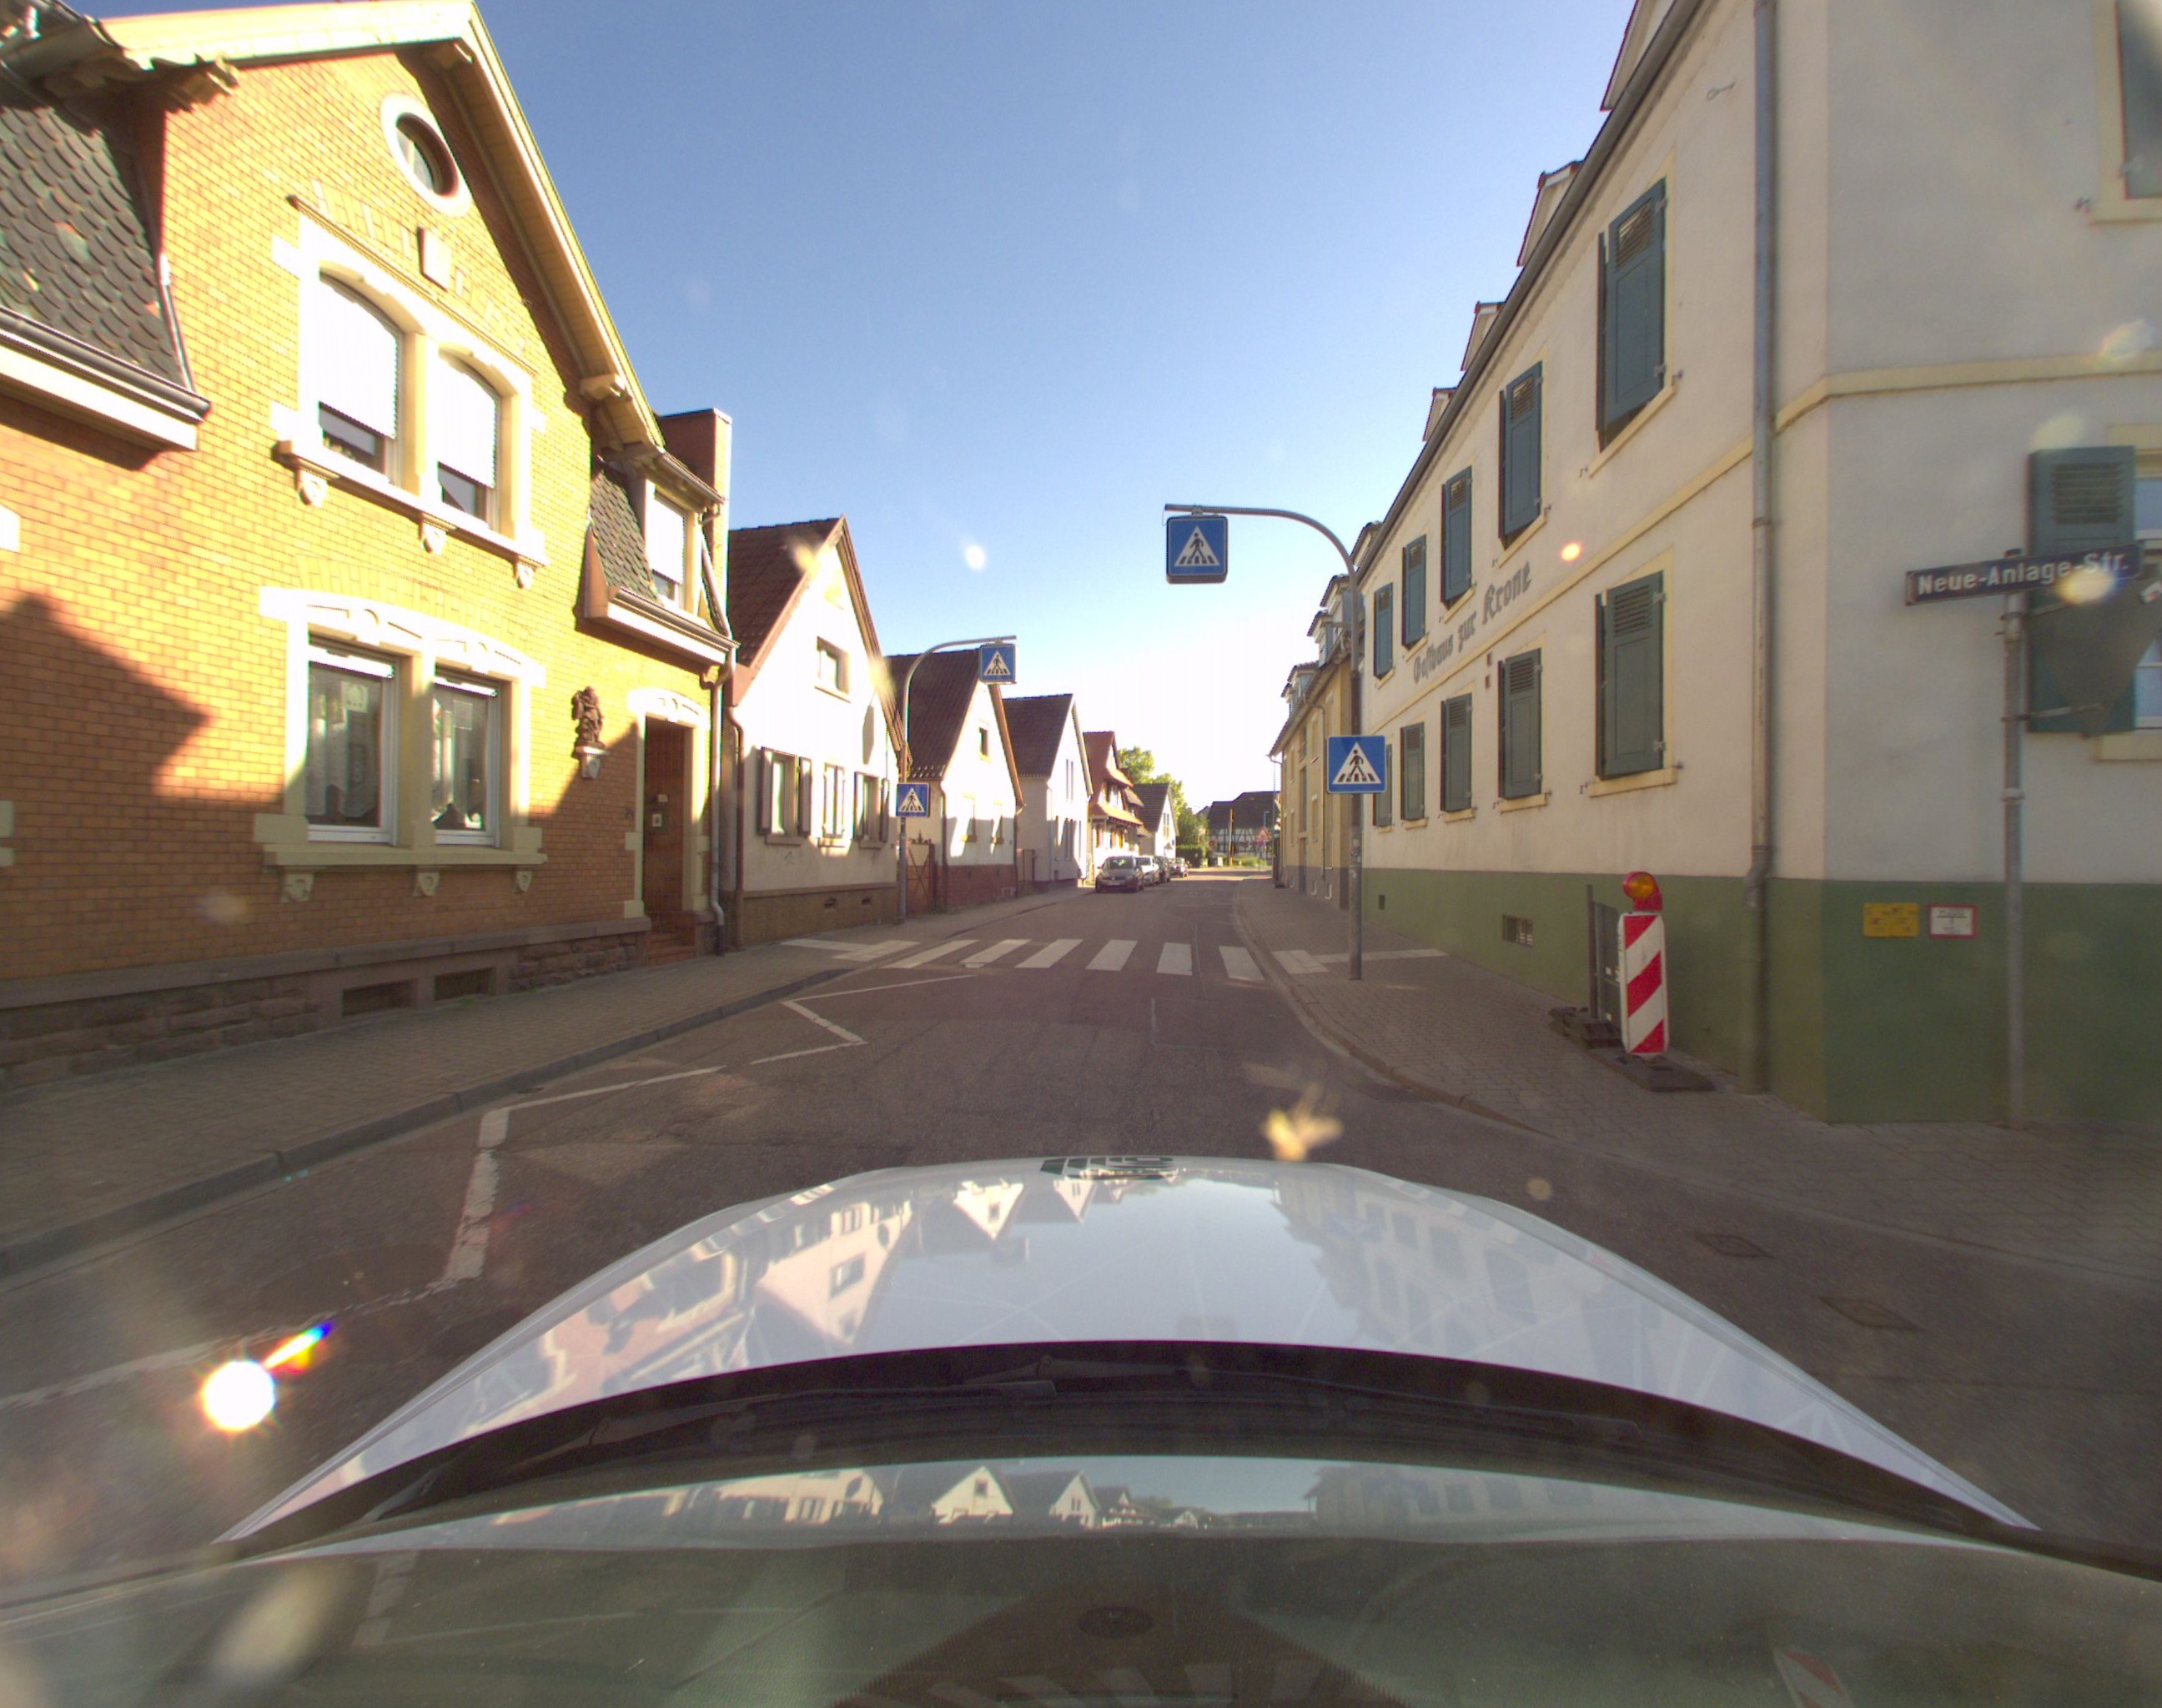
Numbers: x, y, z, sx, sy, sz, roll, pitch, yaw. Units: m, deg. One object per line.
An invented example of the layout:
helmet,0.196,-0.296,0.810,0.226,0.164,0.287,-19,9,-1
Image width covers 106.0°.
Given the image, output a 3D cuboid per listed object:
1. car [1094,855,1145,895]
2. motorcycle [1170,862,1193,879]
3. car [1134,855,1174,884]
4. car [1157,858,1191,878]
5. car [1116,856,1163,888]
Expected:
car,1.742,0.902,35.594,1.731,1.614,4.011,0,-1,10
motorcycle,7.705,1.252,62.592,0.629,1.231,1.974,0,0,-33
car,4.359,0.871,47.882,1.771,1.605,4.376,0,-1,13
car,6.783,1.005,58.908,1.832,1.406,5.053,-1,-1,13
car,3.101,0.918,42.354,1.804,1.567,4.182,0,-1,13
